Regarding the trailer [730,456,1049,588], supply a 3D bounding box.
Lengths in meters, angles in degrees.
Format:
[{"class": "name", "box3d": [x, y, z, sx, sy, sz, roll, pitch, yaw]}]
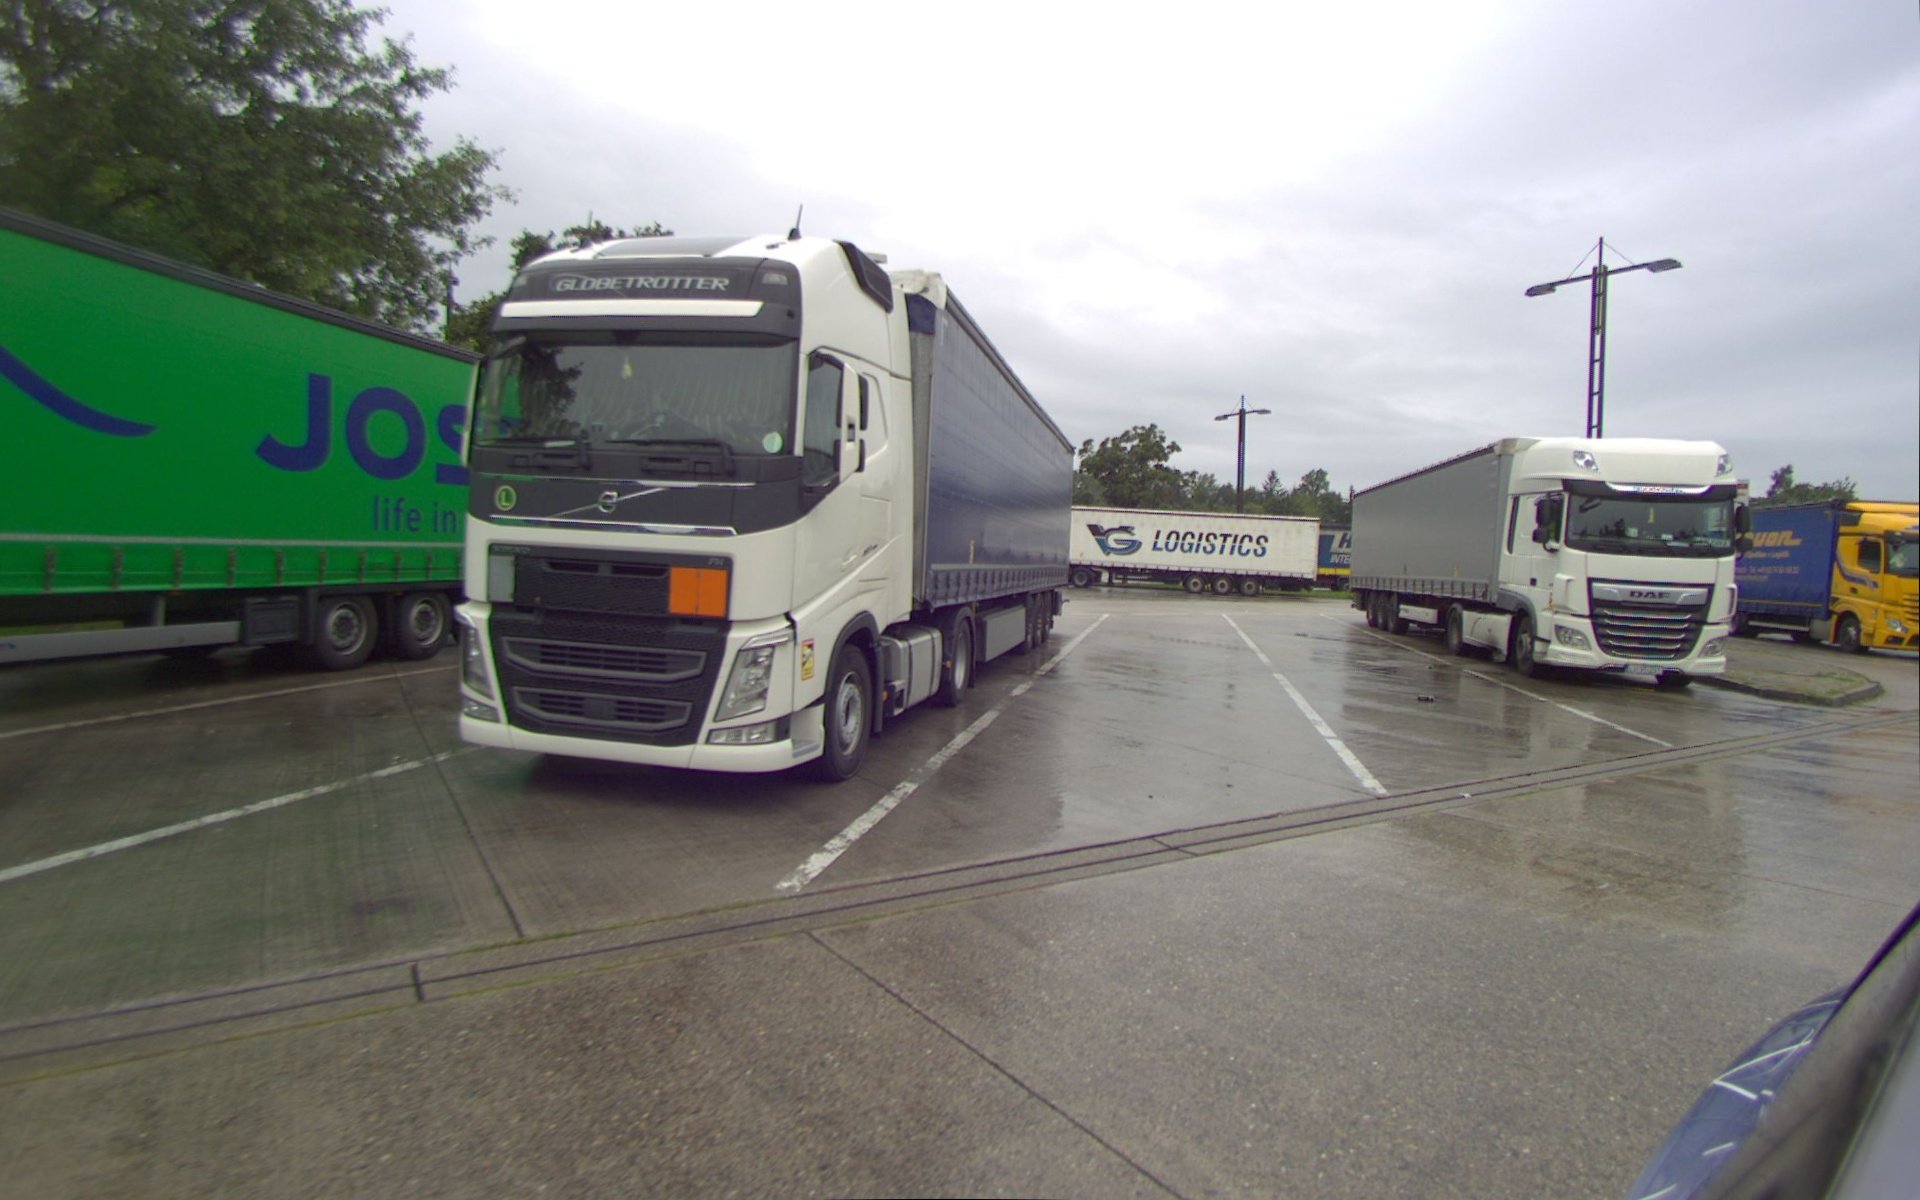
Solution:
[{"class": "trailer", "box3d": [-2.677, -3.055, 39.275, 11.846, 4.528, 3.249, 3, 2, 12]}]

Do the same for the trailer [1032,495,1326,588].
[{"class": "trailer", "box3d": [10.662, -2.779, 50.440, 13.946, 4.312, 2.659, 0, 0, 12]}]

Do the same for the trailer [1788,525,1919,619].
[{"class": "trailer", "box3d": [42.173, -1.170, 43.886, 2.829, 3.966, 13.908, 3, 3, 9]}]

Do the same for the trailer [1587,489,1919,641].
[{"class": "trailer", "box3d": [26.628, -1.267, 34.946, 2.825, 3.966, 16.580, 3, 3, 12]}]

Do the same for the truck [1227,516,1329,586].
[{"class": "truck", "box3d": [17.936, -2.725, 57.365, 5.254, 3.803, 2.064, 0, 0, 10]}]

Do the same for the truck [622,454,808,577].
[{"class": "truck", "box3d": [-9.789, -3.376, 40.752, 6.434, 4.562, 3.249, 3, 2, 12]}]

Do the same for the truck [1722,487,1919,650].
[{"class": "truck", "box3d": [25.245, -0.882, 28.433, 2.798, 3.966, 8.103, 3, 3, 13]}]

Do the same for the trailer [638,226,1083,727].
[{"class": "trailer", "box3d": [-0.122, -1.389, 15.685, 2.783, 4.221, 13.952, 2, 3, 12]}]

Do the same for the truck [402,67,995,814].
[{"class": "truck", "box3d": [-1.576, -1.044, 8.603, 2.783, 4.196, 5.287, 2, 3, 12]}]

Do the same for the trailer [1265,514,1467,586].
[{"class": "trailer", "box3d": [22.472, -2.738, 56.531, 10.221, 3.803, 2.063, 0, 0, 11]}]

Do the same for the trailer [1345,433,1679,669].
[{"class": "trailer", "box3d": [12.091, -1.174, 24.343, 2.800, 3.966, 13.915, 3, 3, 11]}]

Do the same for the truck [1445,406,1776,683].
[{"class": "truck", "box3d": [10.745, -0.939, 17.470, 2.787, 3.960, 5.396, 2, 2, 11]}]

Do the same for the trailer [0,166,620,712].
[{"class": "trailer", "box3d": [-8.357, -1.391, 10.487, 2.781, 4.199, 13.933, 2, 3, 10]}]

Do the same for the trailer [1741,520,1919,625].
[{"class": "trailer", "box3d": [38.310, -1.114, 41.337, 3.193, 3.966, 14.801, 3, 3, 9]}]

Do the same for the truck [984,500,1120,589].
[{"class": "truck", "box3d": [4.740, -2.751, 51.751, 6.679, 4.329, 2.659, 0, 0, 12]}]
